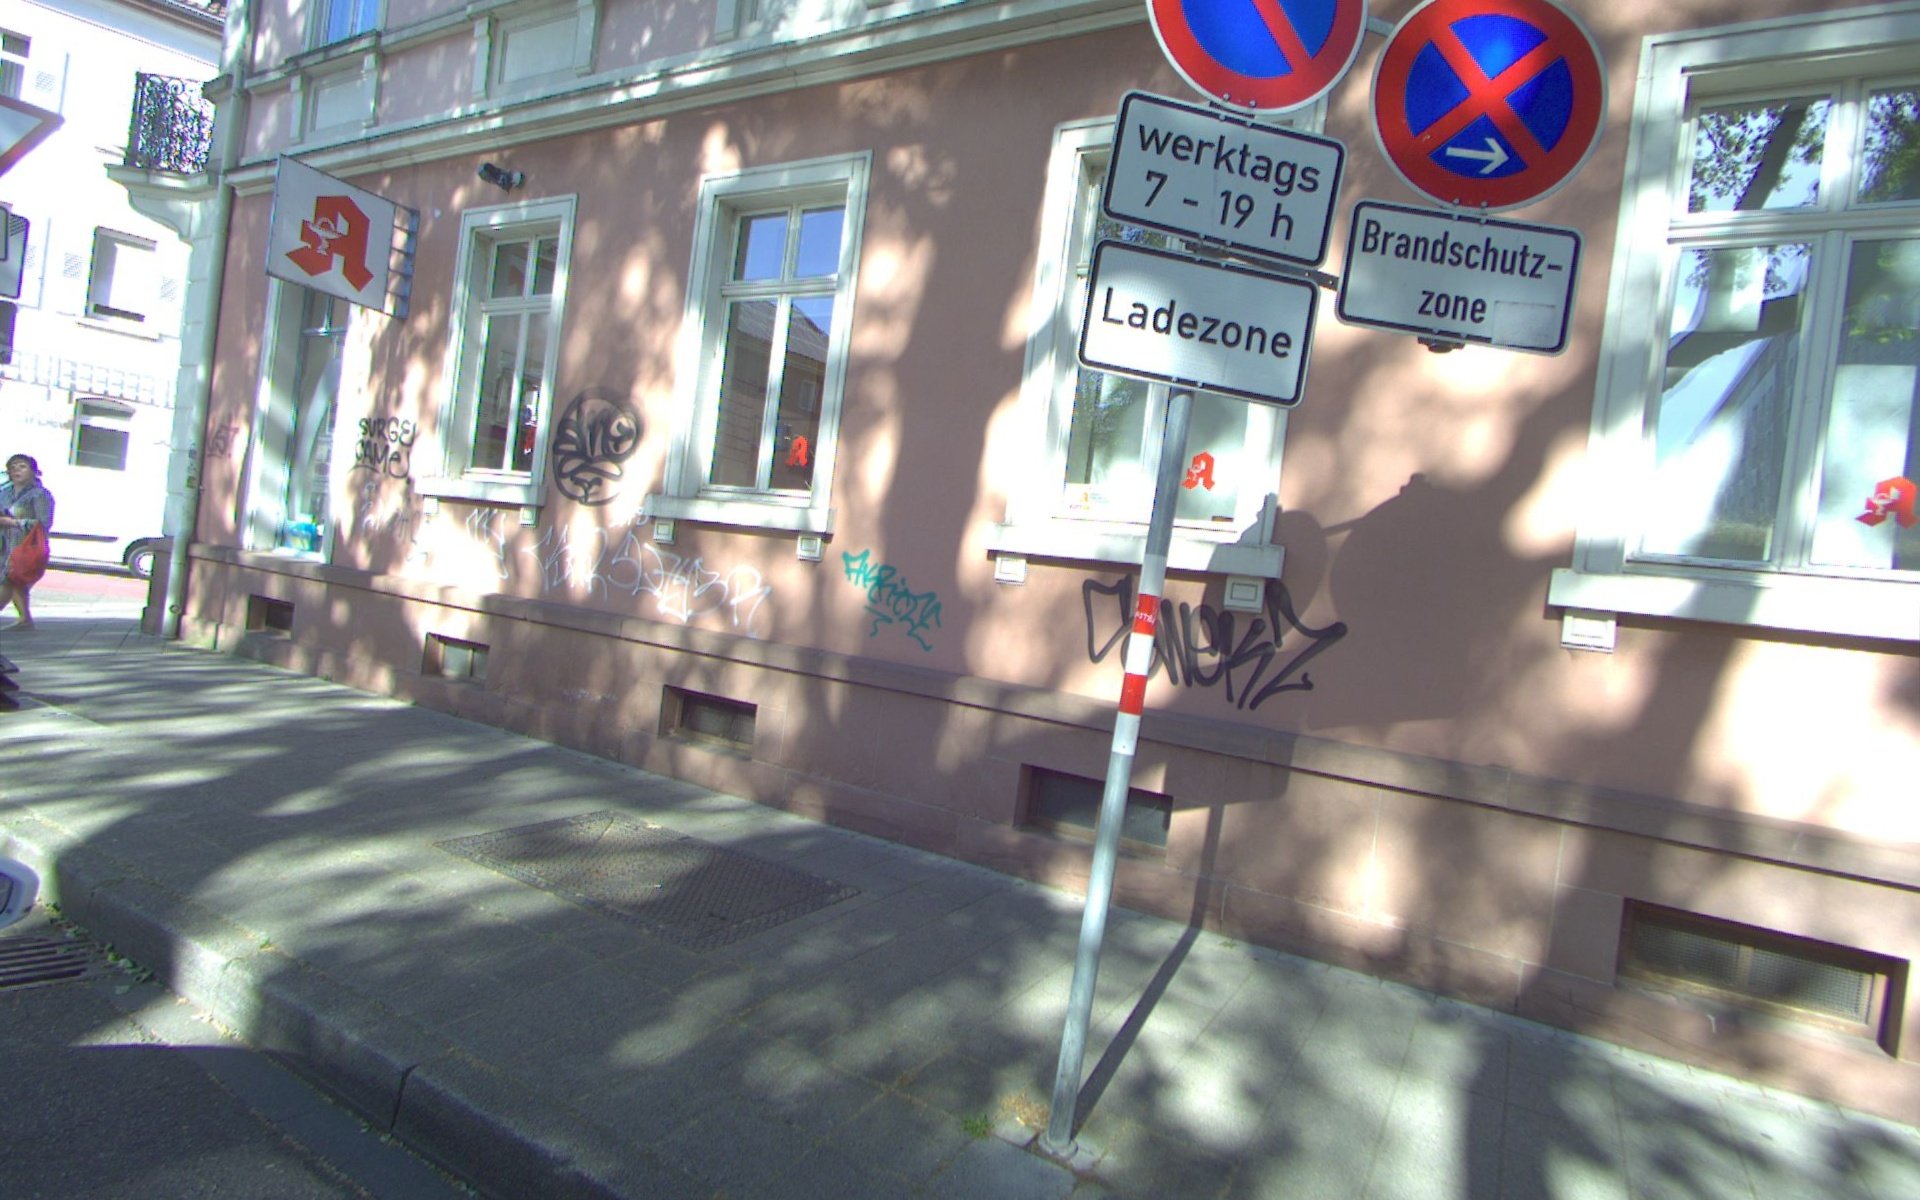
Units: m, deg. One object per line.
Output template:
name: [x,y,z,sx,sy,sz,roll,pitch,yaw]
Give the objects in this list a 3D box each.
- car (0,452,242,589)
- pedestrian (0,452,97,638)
car: [-16.610,-1.538,18.821,4.982,1.969,2.031,8,-1,-36]
pedestrian: [-8.456,-0.505,9.032,0.832,1.596,0.843,6,5,30]
